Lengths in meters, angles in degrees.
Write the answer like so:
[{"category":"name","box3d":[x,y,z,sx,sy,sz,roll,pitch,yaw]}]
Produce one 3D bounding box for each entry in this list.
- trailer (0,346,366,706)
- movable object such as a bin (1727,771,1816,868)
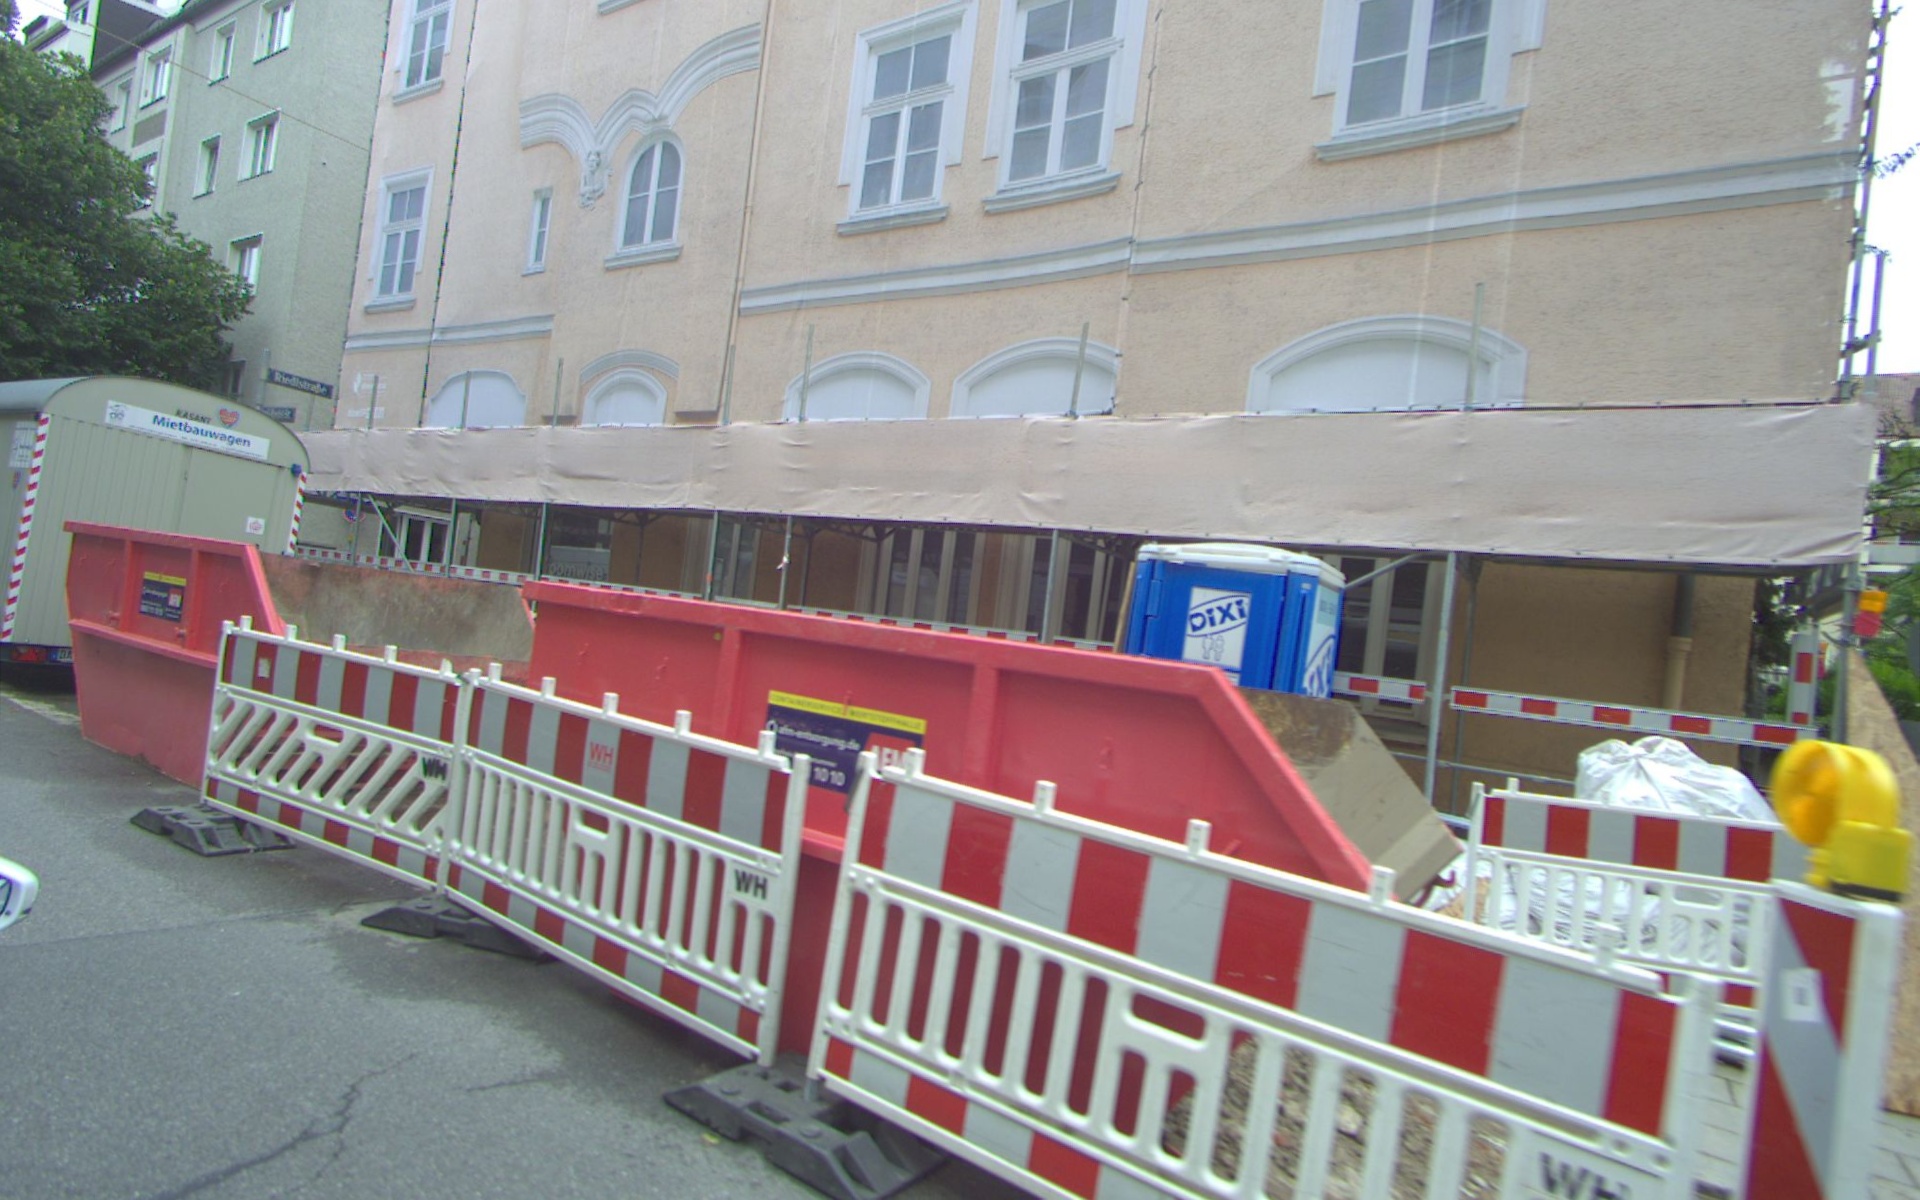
[{"category":"trailer","box3d":[-9.791,-0.763,11.122,6.790,2.871,2.508,5,-3,33]},{"category":"movable object such as a bin","box3d":[11.478,3.076,14.268,0.819,1.122,1.245,6,-2,37]}]
